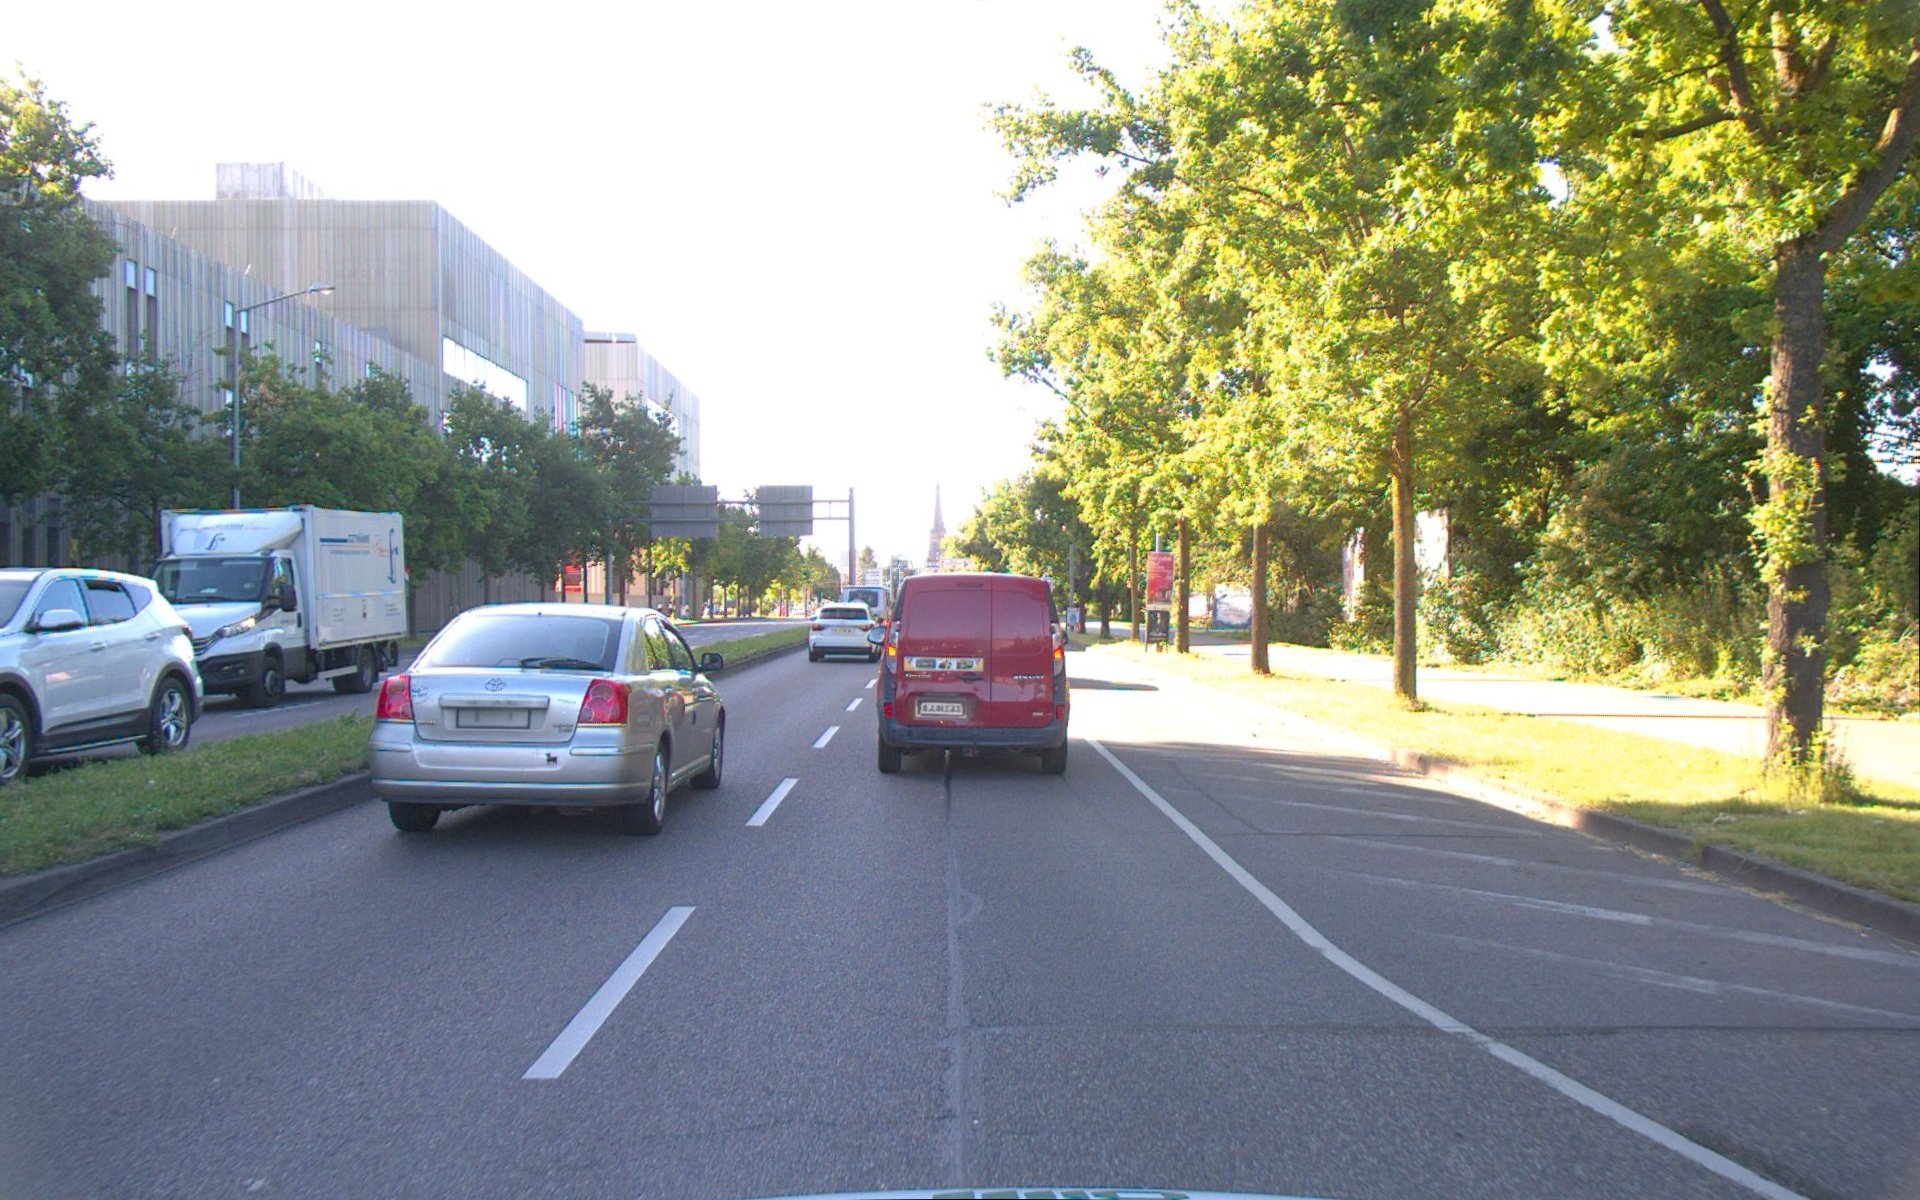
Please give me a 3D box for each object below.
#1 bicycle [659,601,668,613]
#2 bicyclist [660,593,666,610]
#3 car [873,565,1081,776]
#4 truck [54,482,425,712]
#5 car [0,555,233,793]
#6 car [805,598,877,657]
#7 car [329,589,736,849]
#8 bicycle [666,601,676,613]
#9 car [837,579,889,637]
[{"bbox_3d":[-26.269,0.621,146.318,0.477,1.021,2.095,0,-1,-2],"label":"bicycle"},{"bbox_3d":[-26.274,0.133,146.282,0.472,1.419,0.844,0,-1,-2],"label":"bicyclist"},{"bbox_3d":[0.111,0.613,16.218,1.769,1.790,4.005,1,0,-1],"label":"car"},{"bbox_3d":[-10.903,-0.028,25.949,2.631,3.012,7.113,-2,0,0],"label":"truck"},{"bbox_3d":[-7.816,0.570,13.408,1.787,1.711,4.658,-2,0,-1],"label":"car"},{"bbox_3d":[-2.975,0.675,41.809,1.627,1.422,3.558,0,0,-1],"label":"car"},{"bbox_3d":[-2.761,0.699,11.689,1.803,1.482,4.161,1,0,-1],"label":"car"},{"bbox_3d":[-25.460,0.599,145.583,0.558,1.021,2.095,0,-1,-2],"label":"bicycle"},{"bbox_3d":[-3.287,0.267,56.571,1.627,1.889,3.558,0,0,-1],"label":"car"}]
